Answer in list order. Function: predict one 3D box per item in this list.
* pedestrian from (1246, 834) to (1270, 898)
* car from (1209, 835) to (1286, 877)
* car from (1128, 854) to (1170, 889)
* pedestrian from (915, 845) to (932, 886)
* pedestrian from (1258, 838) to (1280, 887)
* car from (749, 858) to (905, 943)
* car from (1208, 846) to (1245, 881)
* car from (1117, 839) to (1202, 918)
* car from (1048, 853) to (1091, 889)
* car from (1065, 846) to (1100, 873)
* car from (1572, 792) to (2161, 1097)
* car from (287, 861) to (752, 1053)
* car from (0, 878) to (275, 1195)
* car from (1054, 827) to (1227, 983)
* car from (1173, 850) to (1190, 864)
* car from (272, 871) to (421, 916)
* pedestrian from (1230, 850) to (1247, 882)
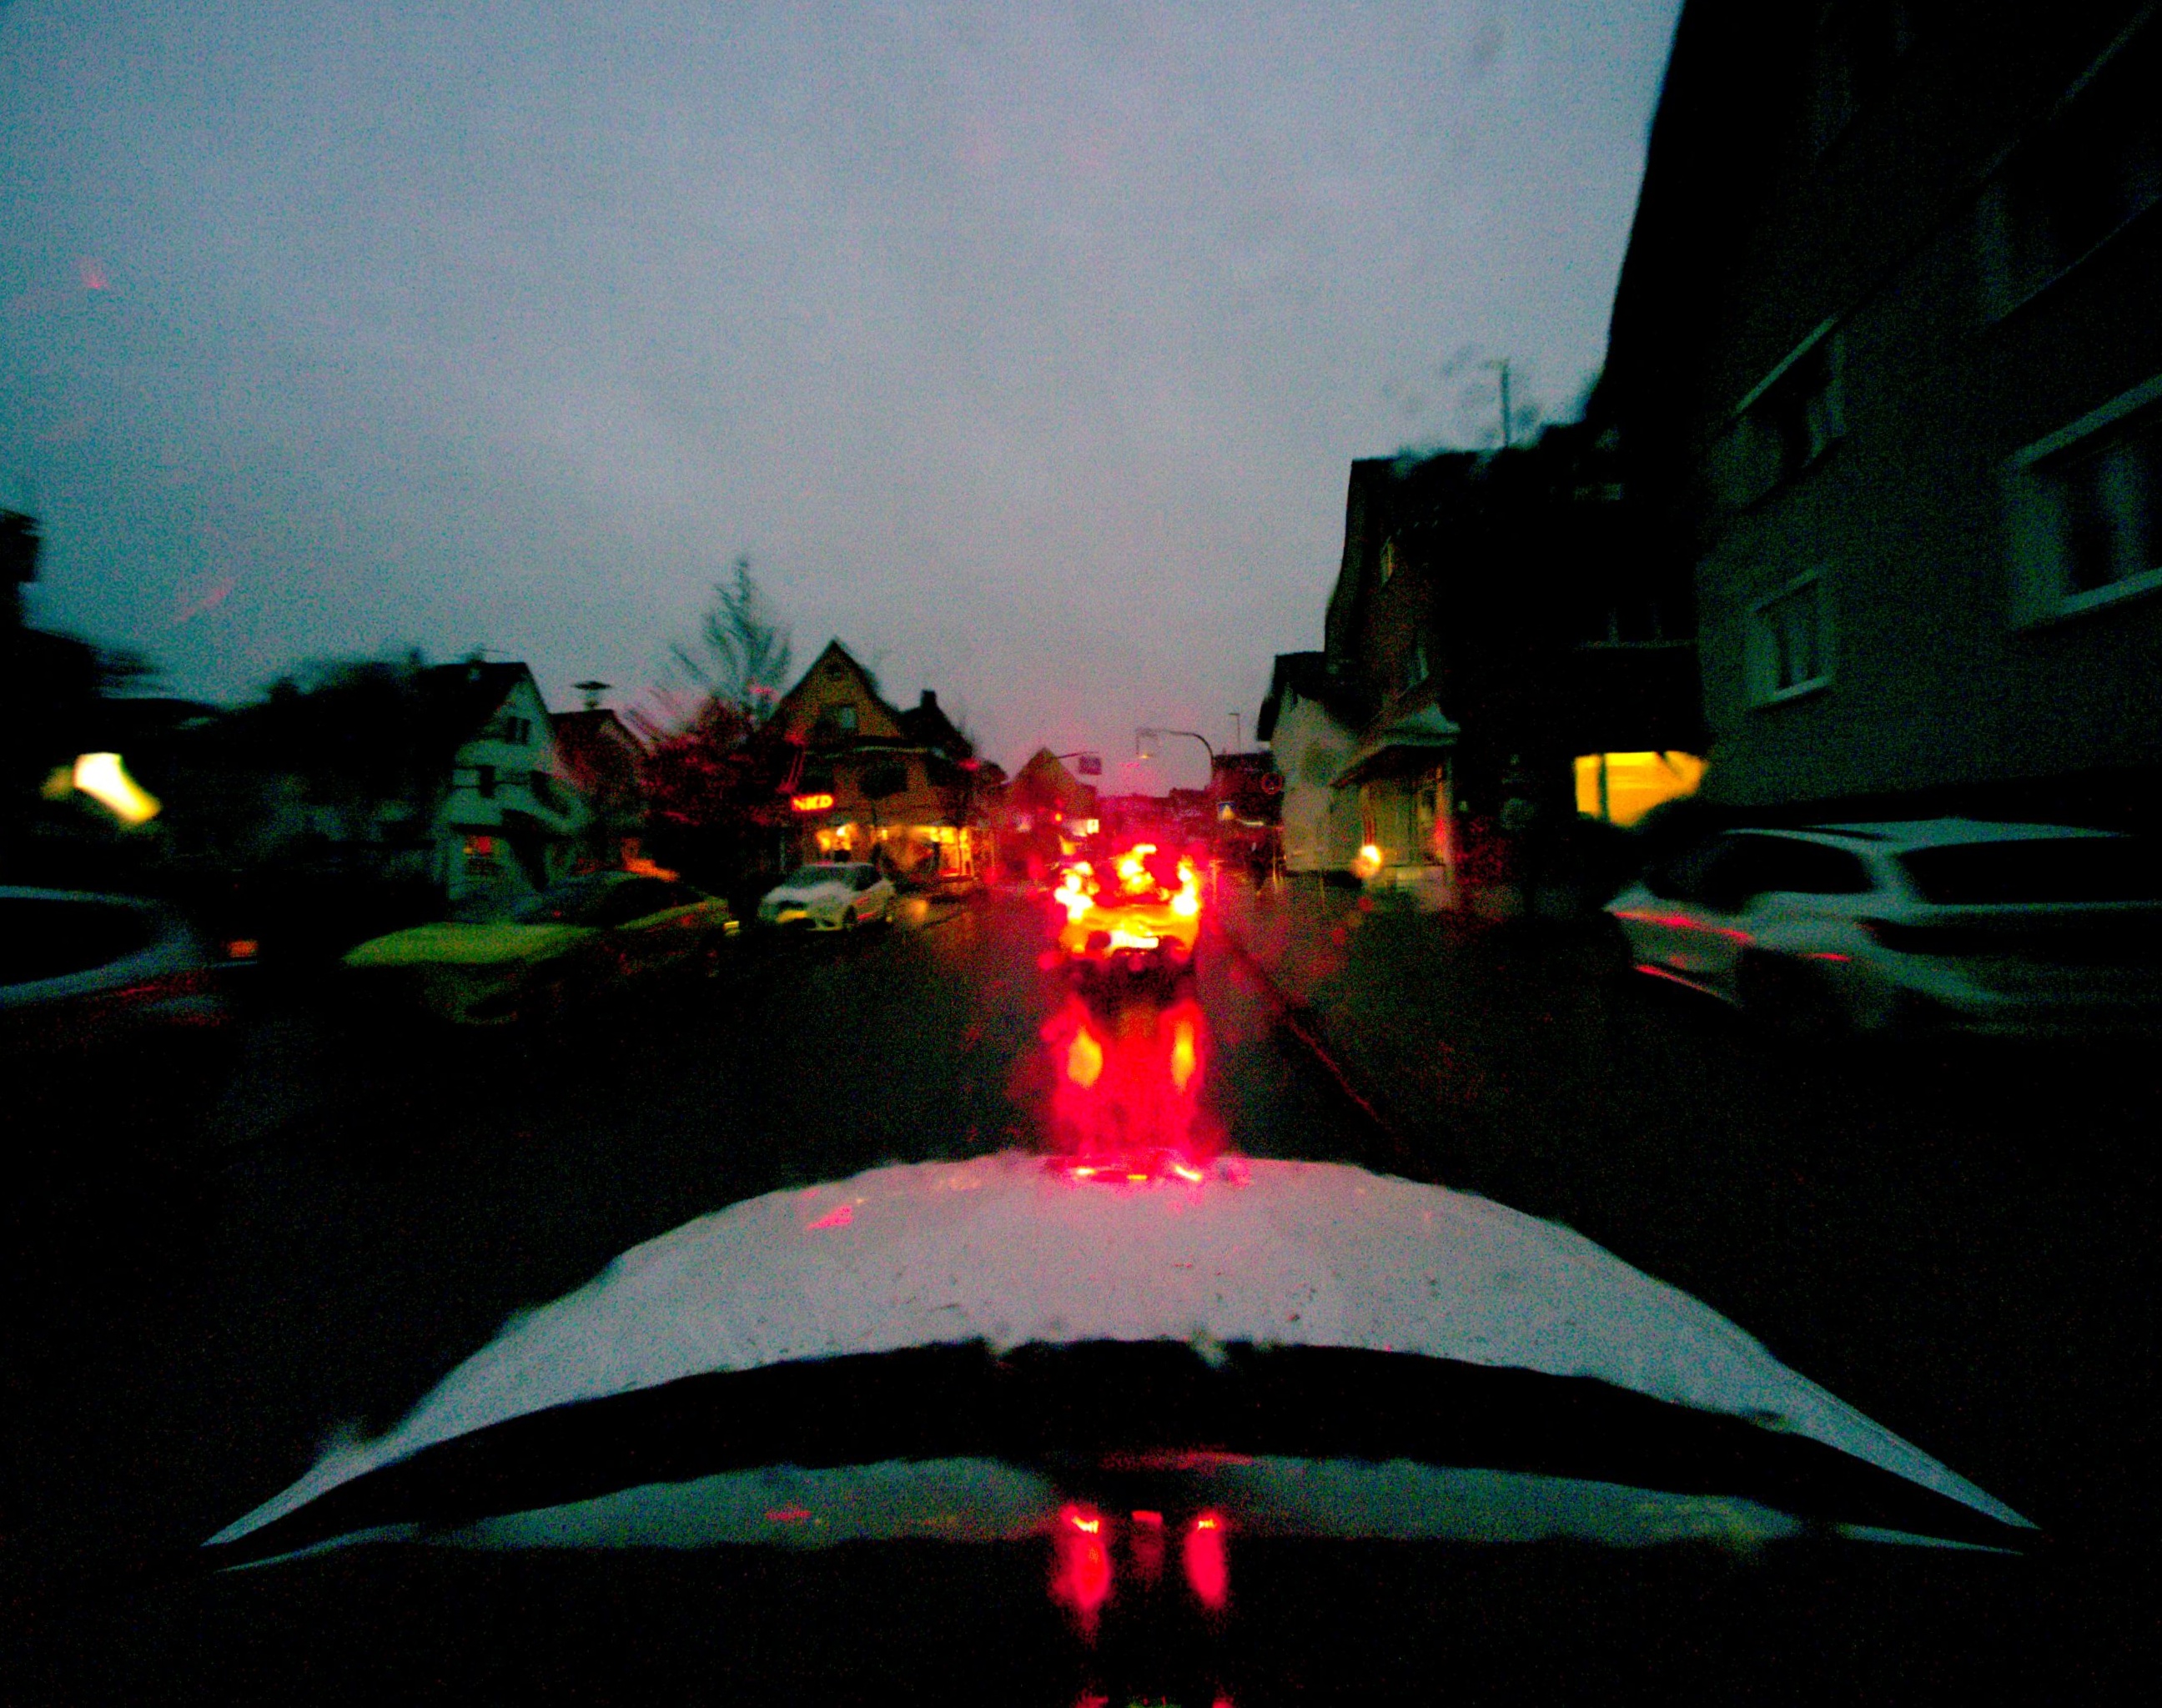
[{"bbox_3d":[5.368,0.365,24.735,0.659,1.888,0.827,-1,-1,11],"label":"pedestrian"},{"bbox_3d":[8.332,0.122,40.930,3.676,2.014,1.693,-1,-1,8],"label":"car"},{"bbox_3d":[3.445,0.811,40.510,1.817,1.601,4.590,-1,0,7],"label":"car"},{"bbox_3d":[-6.863,0.509,35.536,0.586,1.742,0.684,-1,0,-1],"label":"pedestrian"},{"bbox_3d":[7.192,0.313,31.246,0.701,1.876,0.617,0,1,-1],"label":"pedestrian"},{"bbox_3d":[-5.088,0.863,16.894,1.662,1.516,4.005,0,0,5],"label":"car"},{"bbox_3d":[8.881,0.556,50.028,1.635,2.013,4.003,-3,0,3],"label":"car"},{"bbox_3d":[1.885,0.532,19.306,1.788,1.662,4.007,-1,0,6],"label":"car"},{"bbox_3d":[-0.639,0.974,49.286,1.983,2.013,4.370,-1,0,7],"label":"car"},{"bbox_3d":[0.149,0.356,56.452,1.984,1.752,4.367,-1,0,5],"label":"car"},{"bbox_3d":[5.568,0.407,6.165,1.870,1.466,4.560,-3,0,14],"label":"car"},{"bbox_3d":[-5.531,0.858,8.884,1.740,1.516,4.349,0,0,6],"label":"car"},{"bbox_3d":[-6.168,0.921,3.441,1.686,1.516,3.775,0,0,2],"label":"car"},{"bbox_3d":[1.007,0.577,11.911,1.982,1.795,4.659,-2,1,8],"label":"car"},{"bbox_3d":[10.641,0.325,86.363,1.527,1.245,3.652,-6,1,5],"label":"car"},{"bbox_3d":[-27.721,1.471,30.854,3.890,1.519,1.610,-1,0,-9],"label":"car"},{"bbox_3d":[6.098,0.460,31.576,0.551,1.233,0.434,-1,0,1],"label":"pedestrian"}]
